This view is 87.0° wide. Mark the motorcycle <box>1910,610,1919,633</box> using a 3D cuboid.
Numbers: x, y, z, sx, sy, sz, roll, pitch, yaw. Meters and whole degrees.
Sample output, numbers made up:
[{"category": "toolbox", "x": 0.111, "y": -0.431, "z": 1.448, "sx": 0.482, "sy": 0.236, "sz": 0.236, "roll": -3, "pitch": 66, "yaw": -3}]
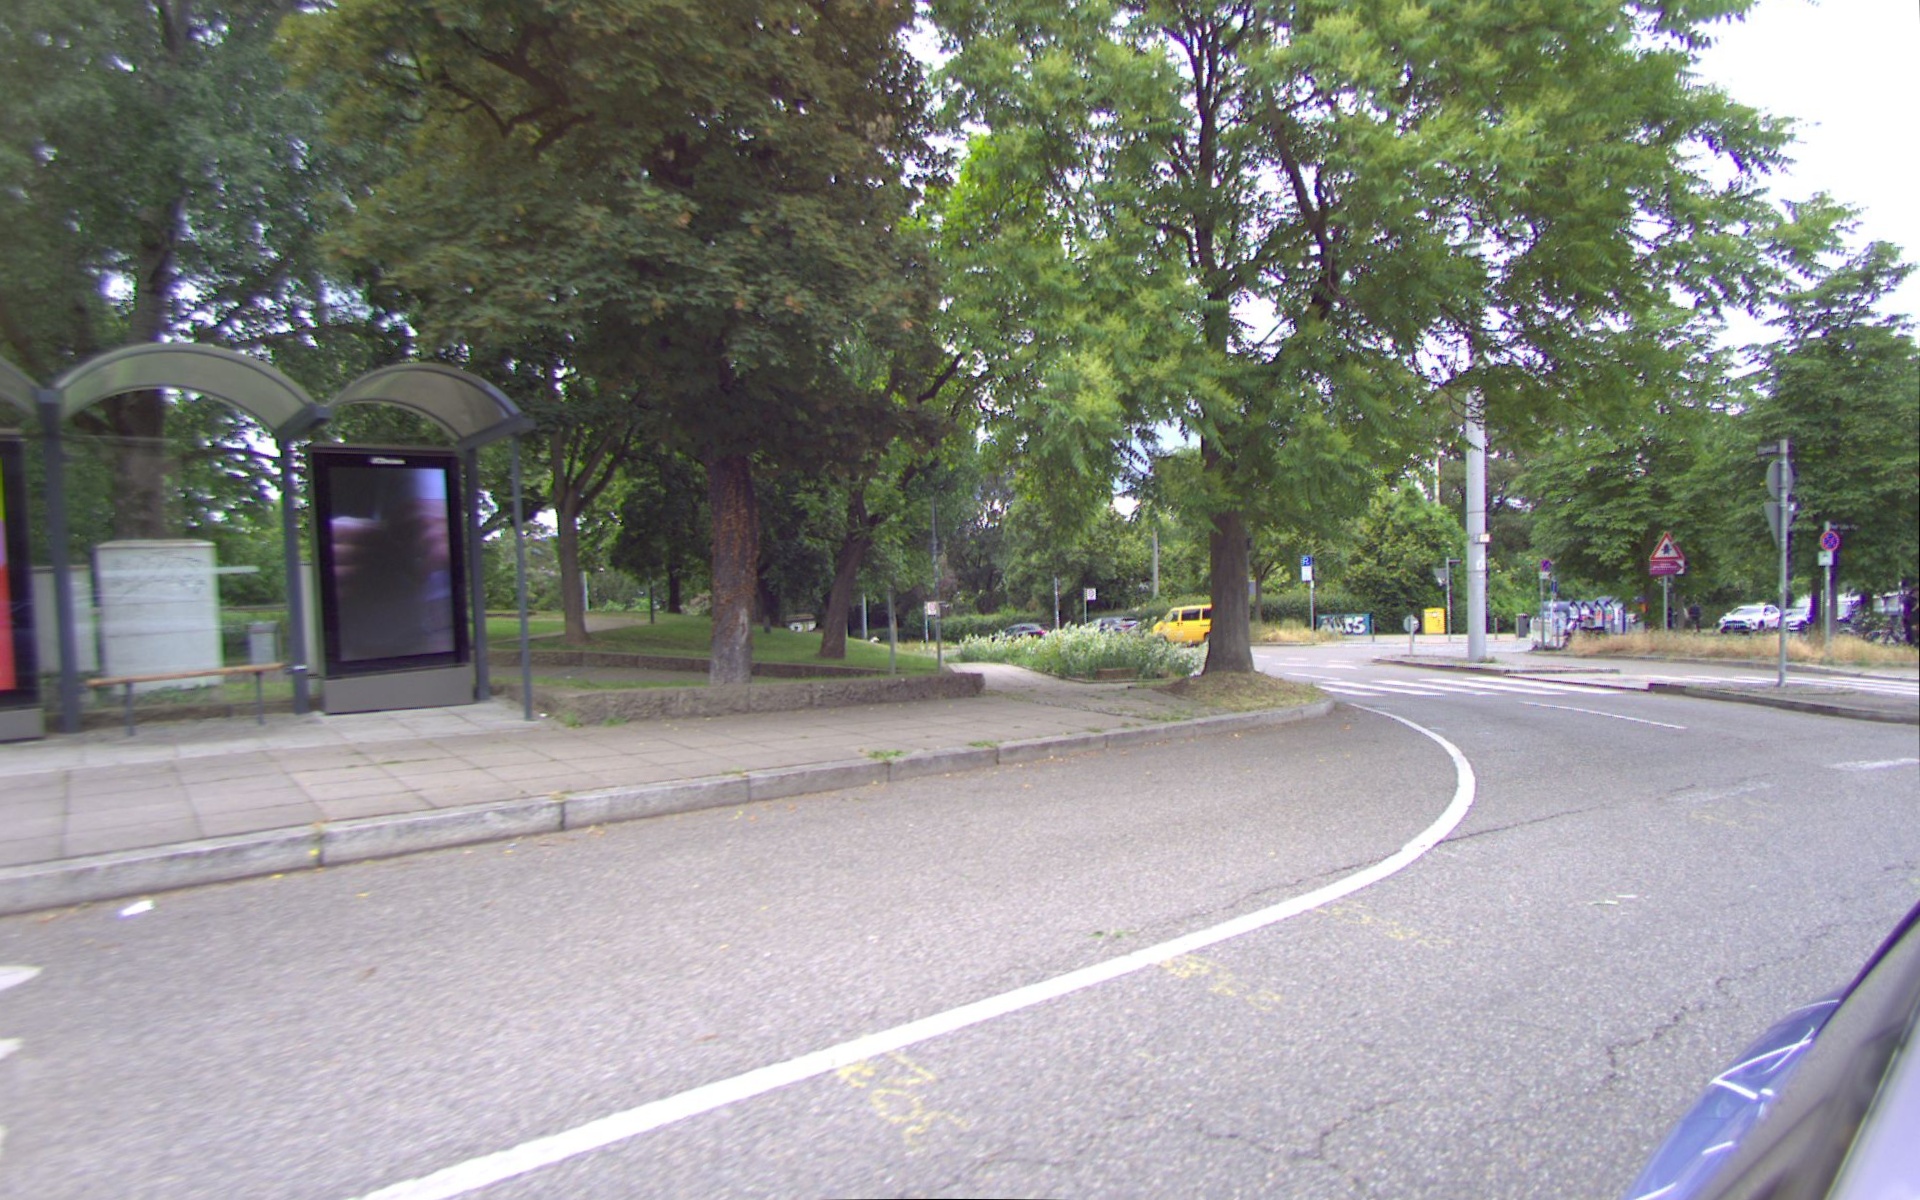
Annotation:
[{"category": "motorcycle", "x": 44.916, "y": 1.014, "z": 46.712, "sx": 2.012, "sy": 1.046, "sz": 0.757, "roll": 1, "pitch": 1, "yaw": -23}]

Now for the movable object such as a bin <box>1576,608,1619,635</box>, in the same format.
[{"category": "movable object such as a bin", "x": 29.459, "y": 1.003, "z": 46.763, "sx": 1.291, "sy": 1.180, "sz": 1.061, "roll": 1, "pitch": 1, "yaw": 5}]

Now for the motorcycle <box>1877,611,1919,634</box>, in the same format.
[{"category": "motorcycle", "x": 44.458, "y": 1.066, "z": 47.889, "sx": 2.012, "sy": 1.046, "sz": 0.757, "roll": 1, "pitch": 1, "yaw": -23}]

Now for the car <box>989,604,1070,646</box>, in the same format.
[{"category": "car", "x": 3.744, "y": 1.313, "z": 54.982, "sx": 3.983, "sy": 2.039, "sz": 1.971, "roll": 2, "pitch": 1, "yaw": 41}]

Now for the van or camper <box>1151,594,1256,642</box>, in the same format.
[{"category": "van or camper", "x": 11.046, "y": 0.846, "z": 46.101, "sx": 1.854, "sy": 2.002, "sz": 4.469, "roll": -2, "pitch": 0, "yaw": -36}]

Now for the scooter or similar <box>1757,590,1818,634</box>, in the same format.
[{"category": "scooter or similar", "x": 24.666, "y": 0.342, "z": 30.181, "sx": 1.303, "sy": 1.264, "sz": 0.461, "roll": 1, "pitch": 0, "yaw": 20}]

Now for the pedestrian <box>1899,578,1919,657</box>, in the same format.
[{"category": "pedestrian", "x": 23.613, "y": 0.417, "z": 24.537, "sx": 0.845, "sy": 1.910, "sz": 0.961, "roll": 1, "pitch": 0, "yaw": 15}]

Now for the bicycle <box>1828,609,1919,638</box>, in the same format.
[{"category": "bicycle", "x": 39.650, "y": 1.005, "z": 43.918, "sx": 2.909, "sy": 1.160, "sz": 0.920, "roll": 1, "pitch": 1, "yaw": 12}]

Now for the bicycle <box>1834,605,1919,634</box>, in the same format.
[{"category": "bicycle", "x": 40.693, "y": 0.853, "z": 44.784, "sx": 2.909, "sy": 1.160, "sz": 0.920, "roll": 1, "pitch": 1, "yaw": 12}]

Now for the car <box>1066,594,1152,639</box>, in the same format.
[{"category": "car", "x": 7.454, "y": 0.796, "z": 50.840, "sx": 1.963, "sy": 2.039, "sz": 3.998, "roll": 0, "pitch": 1, "yaw": -38}]

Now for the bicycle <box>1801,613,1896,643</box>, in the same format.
[{"category": "bicycle", "x": 37.802, "y": 1.172, "z": 43.096, "sx": 2.909, "sy": 1.160, "sz": 0.920, "roll": 1, "pitch": 1, "yaw": 12}]

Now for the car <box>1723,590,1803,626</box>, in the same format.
[{"category": "car", "x": 44.600, "y": 0.423, "z": 56.199, "sx": 4.621, "sy": 1.927, "sz": 2.002, "roll": 0, "pitch": 1, "yaw": -31}]

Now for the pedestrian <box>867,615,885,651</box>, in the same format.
[{"category": "pedestrian", "x": -3.977, "y": 1.552, "z": 47.827, "sx": 0.656, "sy": 1.669, "sz": 0.670, "roll": 0, "pitch": 1, "yaw": -19}]
